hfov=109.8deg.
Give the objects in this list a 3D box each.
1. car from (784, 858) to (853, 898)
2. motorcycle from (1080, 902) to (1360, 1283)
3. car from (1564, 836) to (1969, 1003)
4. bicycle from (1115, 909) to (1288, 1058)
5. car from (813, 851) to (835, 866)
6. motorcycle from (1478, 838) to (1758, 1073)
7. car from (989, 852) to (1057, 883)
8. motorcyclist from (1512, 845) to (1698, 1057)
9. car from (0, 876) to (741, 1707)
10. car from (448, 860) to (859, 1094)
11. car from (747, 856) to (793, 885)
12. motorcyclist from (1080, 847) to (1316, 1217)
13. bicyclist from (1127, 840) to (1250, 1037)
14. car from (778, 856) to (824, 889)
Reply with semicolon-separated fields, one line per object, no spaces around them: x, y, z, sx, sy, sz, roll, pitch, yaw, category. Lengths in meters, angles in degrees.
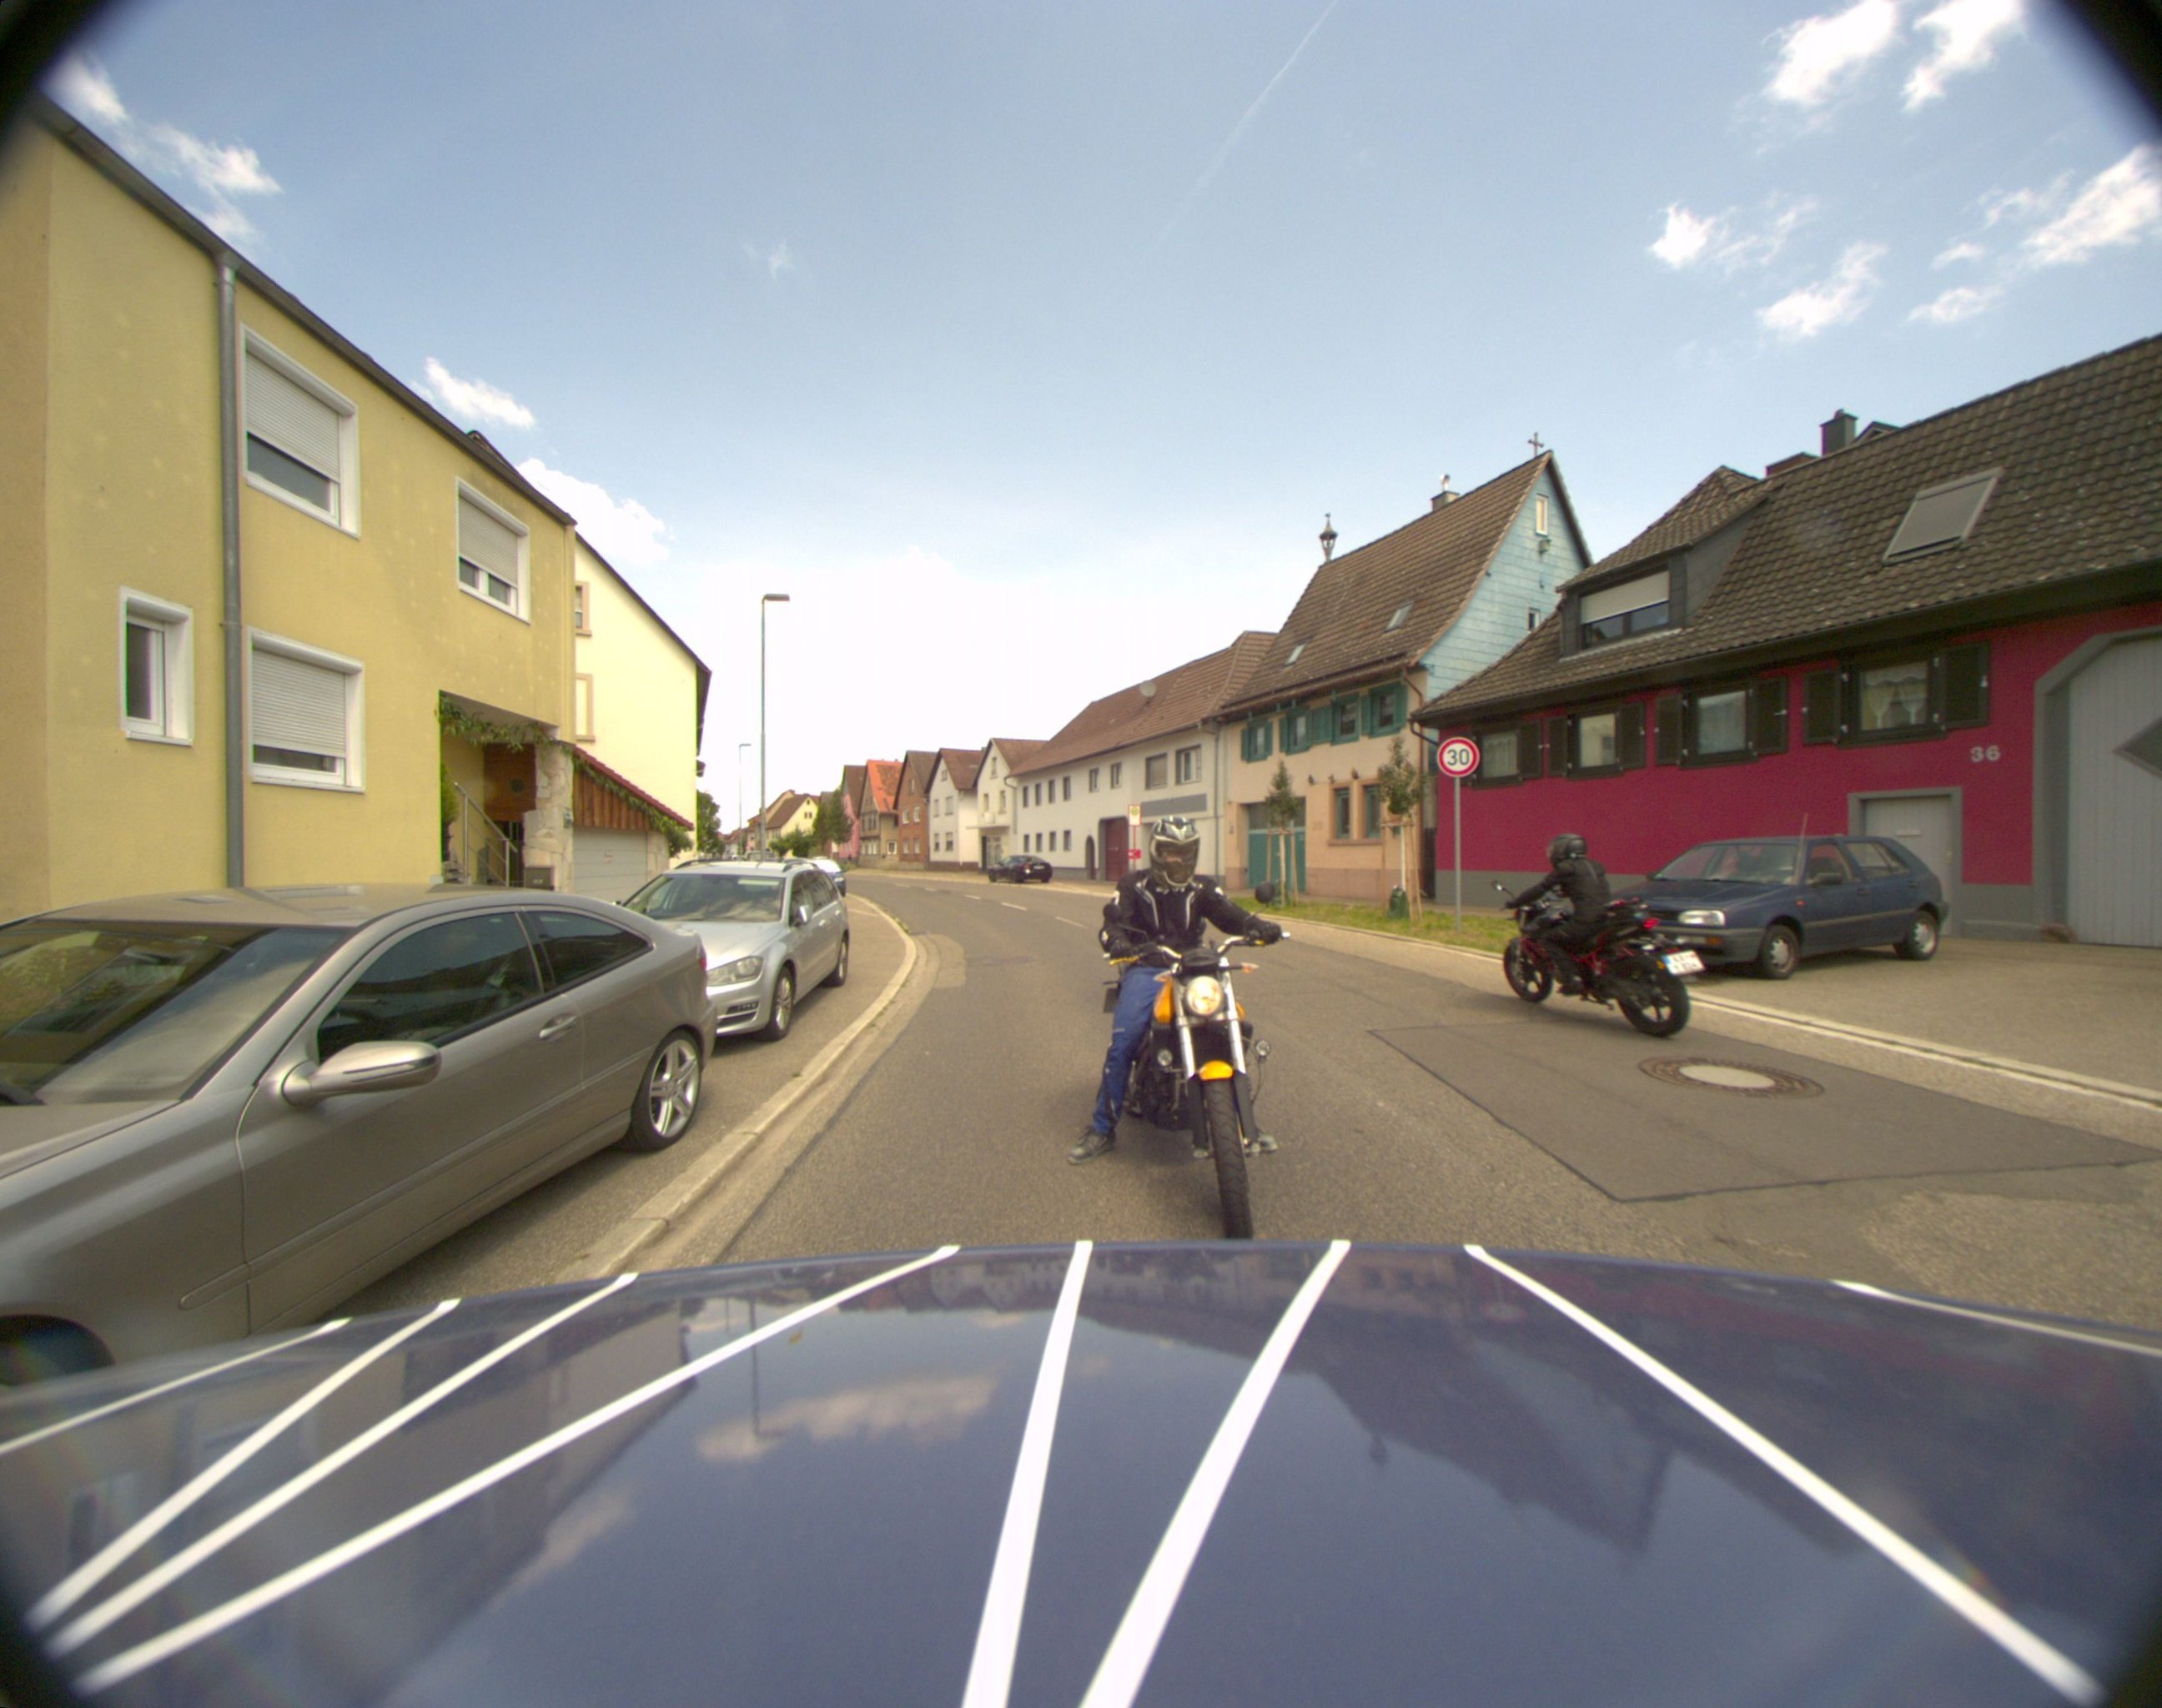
-10.436;0.893;30.037;1.731;1.378;3.989;-1;2;-32;car
0.532;0.959;3.876;0.985;1.234;2.103;-3;1;1;motorcycle
7.681;0.594;8.547;3.983;1.456;1.718;-2;1;-20;car
1.000;1.078;6.923;0.934;1.005;1.923;-2;0;-11;bicycle
-27.416;0.442;81.070;1.687;1.521;3.491;-2;2;-26;car
4.089;0.683;6.047;0.882;1.551;1.968;-1;0;3;motorcycle
-2.956;0.643;37.892;1.812;1.412;4.541;-2;0;-26;car
4.087;0.718;6.003;0.898;1.545;0.807;-1;0;2;motorcyclist
-2.932;0.915;2.459;1.775;1.392;4.422;2;1;-2;car
-3.549;0.879;7.396;1.890;1.521;4.333;2;0;-6;car
-18.917;0.986;46.130;1.669;1.638;3.989;-3;1;-35;car
0.520;0.780;3.706;1.000;1.591;0.799;-1;2;1;motorcyclist
0.968;0.725;6.997;0.910;1.679;0.760;-2;2;-10;bicyclist
-13.837;0.940;37.429;1.776;1.520;3.993;-1;-1;-25;car
